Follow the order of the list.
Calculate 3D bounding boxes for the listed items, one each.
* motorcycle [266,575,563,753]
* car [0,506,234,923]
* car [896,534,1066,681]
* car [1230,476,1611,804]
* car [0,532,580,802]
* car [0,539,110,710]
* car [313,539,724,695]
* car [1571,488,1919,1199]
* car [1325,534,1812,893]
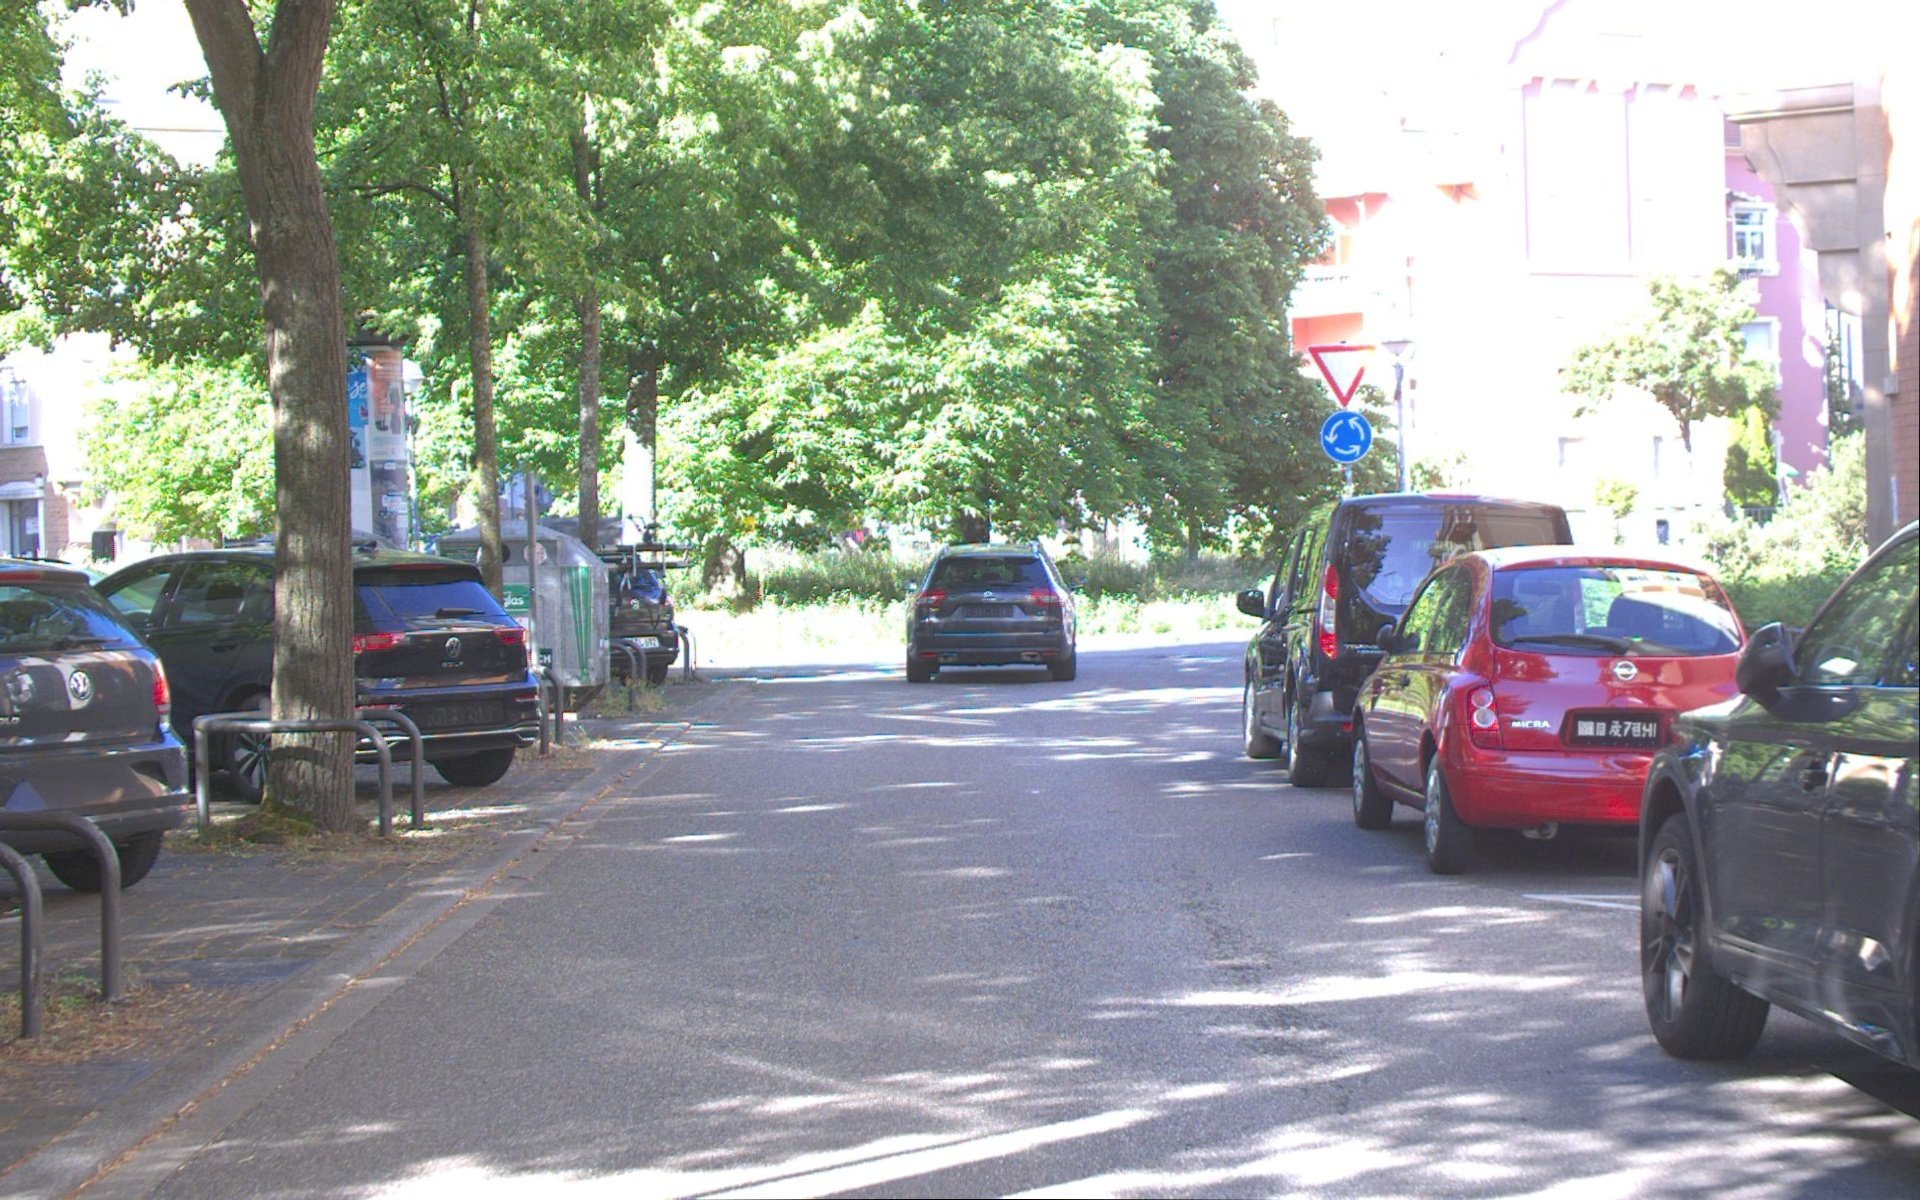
[{"bbox_3d":[-3.764,0.437,23.774,1.939,1.167,0.518,-1,1,3],"label":"motorcycle"},{"bbox_3d":[-5.050,0.424,14.353,3.731,1.576,1.634,0,1,26],"label":"car"},{"bbox_3d":[0.258,0.043,37.733,1.714,1.478,4.144,-2,1,1],"label":"car"},{"bbox_3d":[2.891,0.205,22.462,1.801,1.864,4.273,2,1,-1],"label":"car"},{"bbox_3d":[-4.314,0.361,20.713,4.099,1.461,1.862,0,0,45],"label":"car"},{"bbox_3d":[-9.765,0.254,30.800,3.789,1.461,1.644,-2,1,12],"label":"car"},{"bbox_3d":[-4.481,0.164,34.588,4.138,1.476,1.772,0,0,40],"label":"car"},{"bbox_3d":[2.982,0.569,8.670,1.864,1.638,4.492,1,1,-3],"label":"car"},{"bbox_3d":[2.920,0.475,17.292,1.645,1.532,4.000,2,1,-1],"label":"car"}]
